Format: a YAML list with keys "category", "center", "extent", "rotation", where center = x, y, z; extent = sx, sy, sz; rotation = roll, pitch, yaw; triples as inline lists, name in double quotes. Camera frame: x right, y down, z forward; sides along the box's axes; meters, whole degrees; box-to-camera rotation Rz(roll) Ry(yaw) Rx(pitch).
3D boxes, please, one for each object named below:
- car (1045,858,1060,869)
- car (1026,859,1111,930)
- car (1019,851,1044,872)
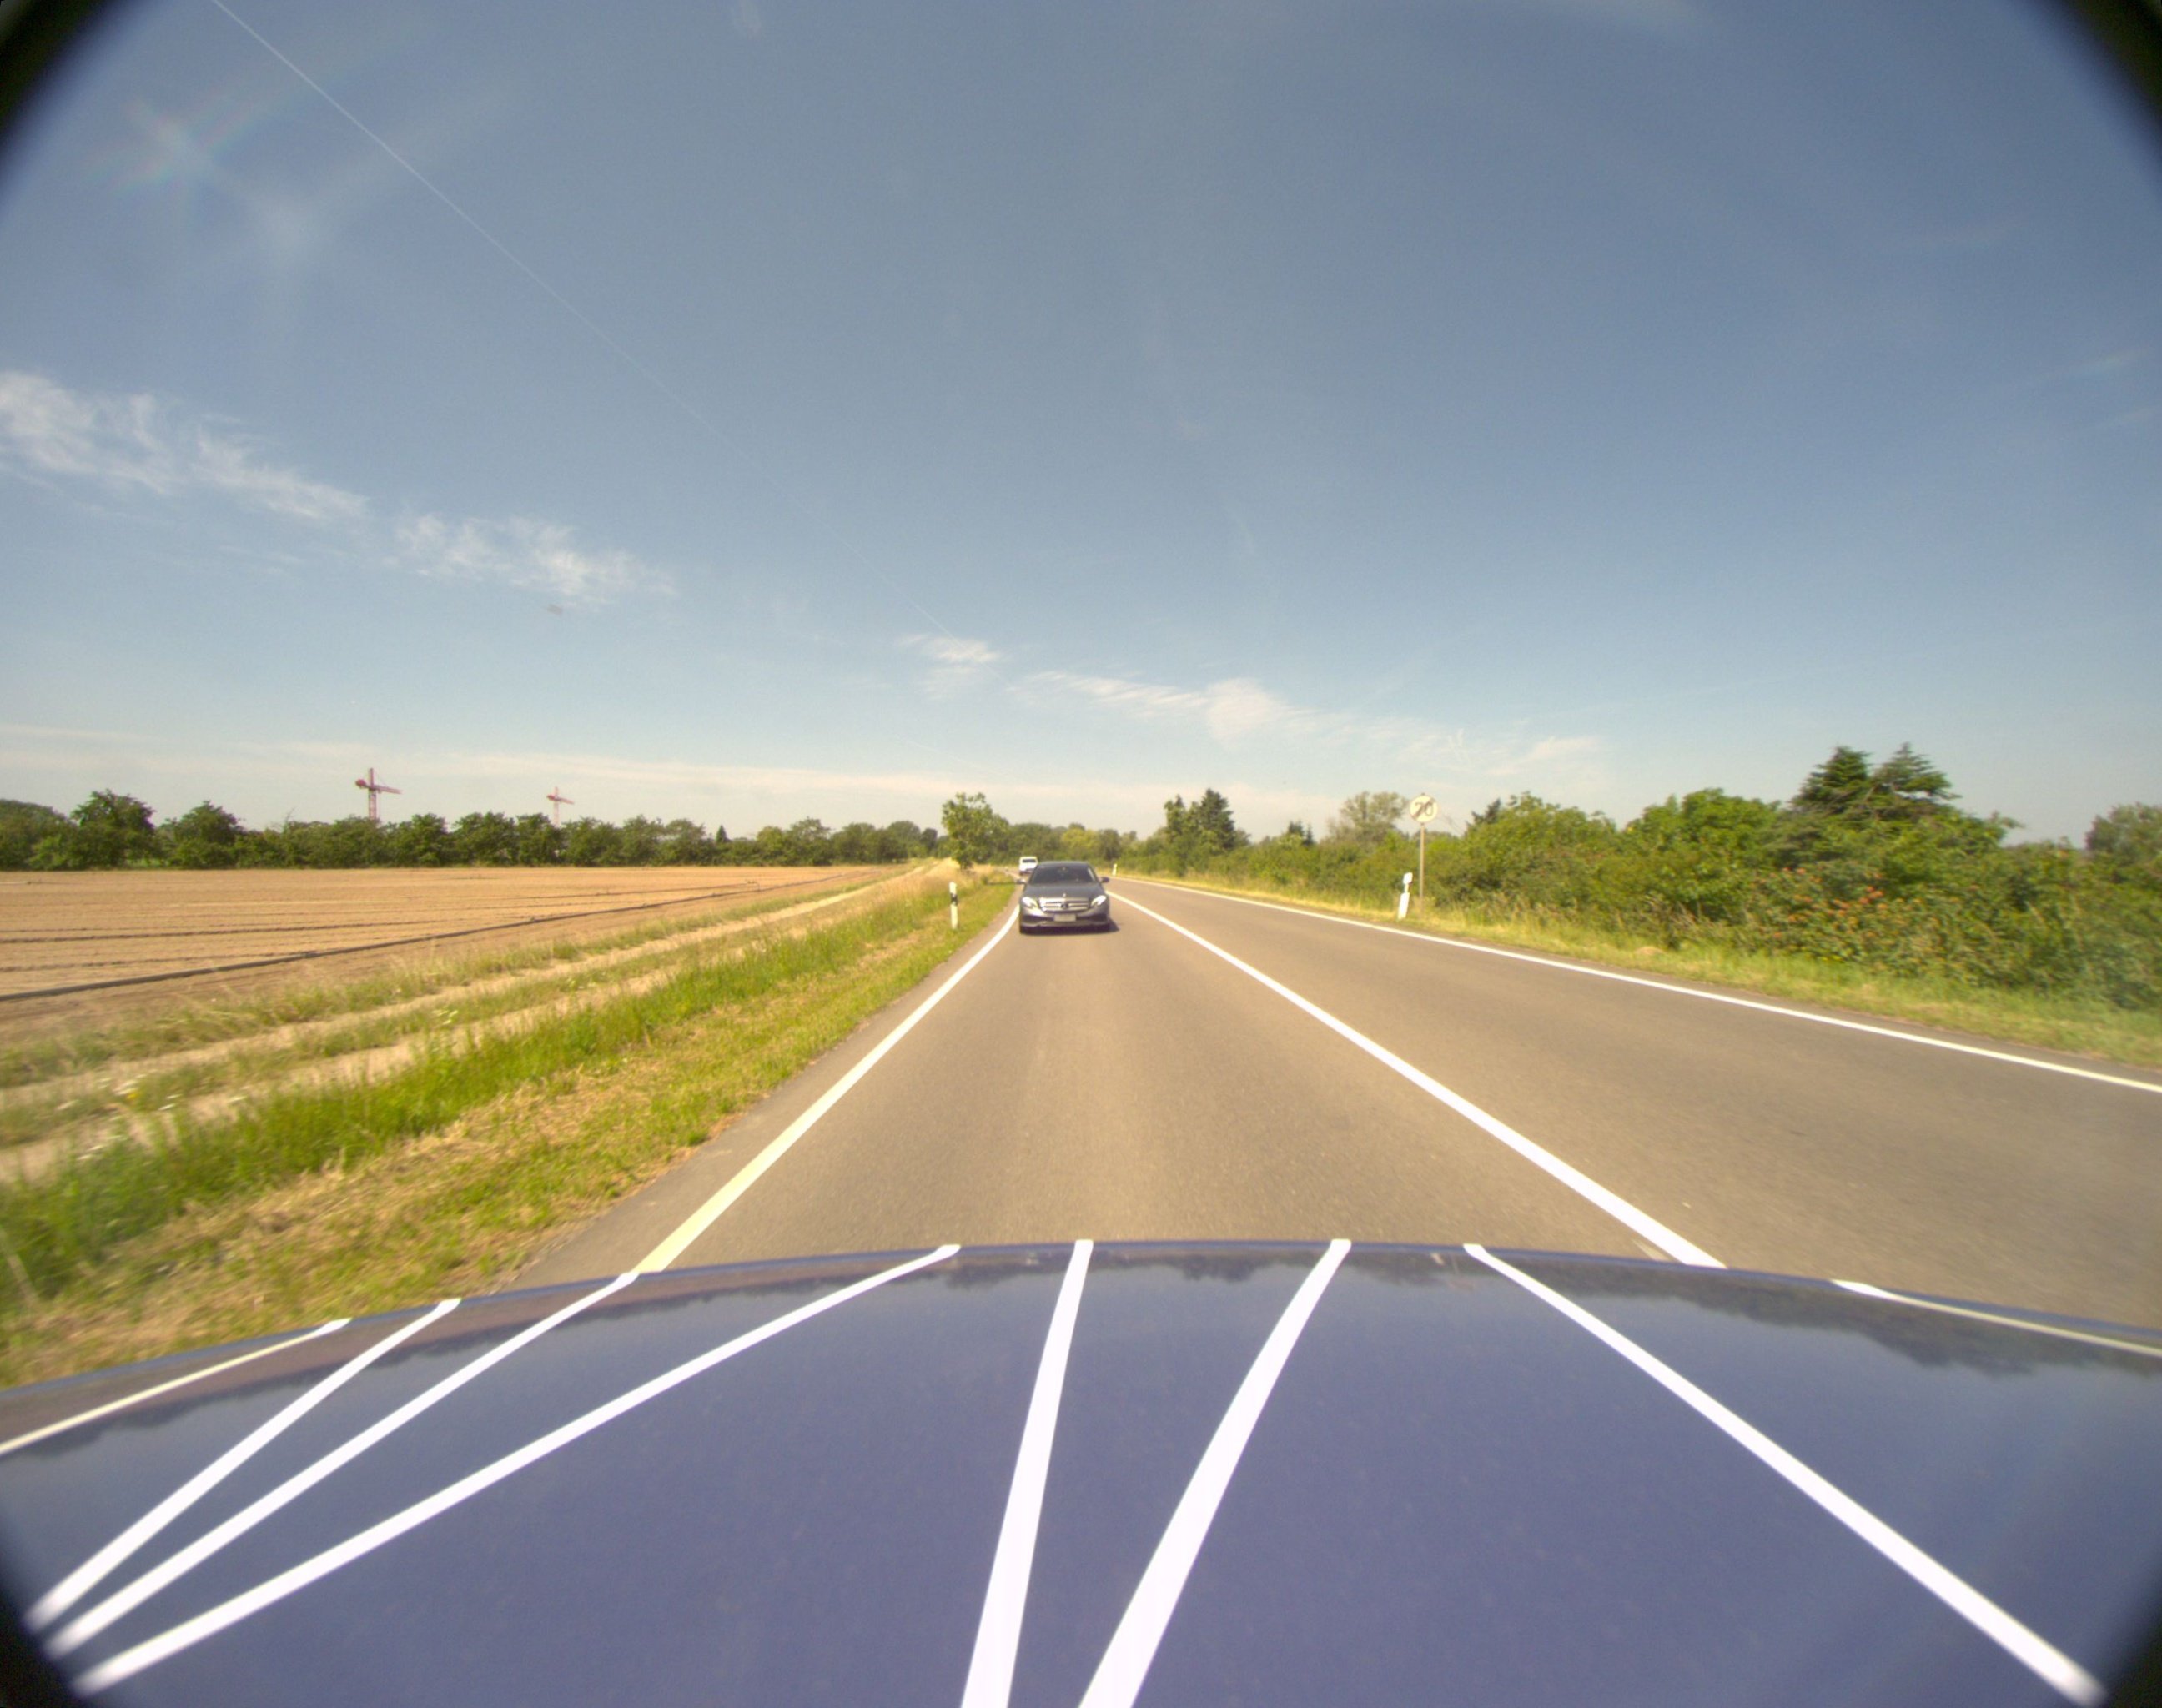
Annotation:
- category: "car"
  center: [-3.935, 1.312, 103.411]
  extent: [1.698, 1.354, 3.823]
  rotation: [-2, 0, -8]
- category: "car"
  center: [-0.440, 0.912, 19.162]
  extent: [1.832, 1.540, 4.497]
  rotation: [-1, 0, -5]
- category: "car"
  center: [-5.182, 0.810, 78.857]
  extent: [2.180, 2.002, 5.022]
  rotation: [-3, 0, -8]
